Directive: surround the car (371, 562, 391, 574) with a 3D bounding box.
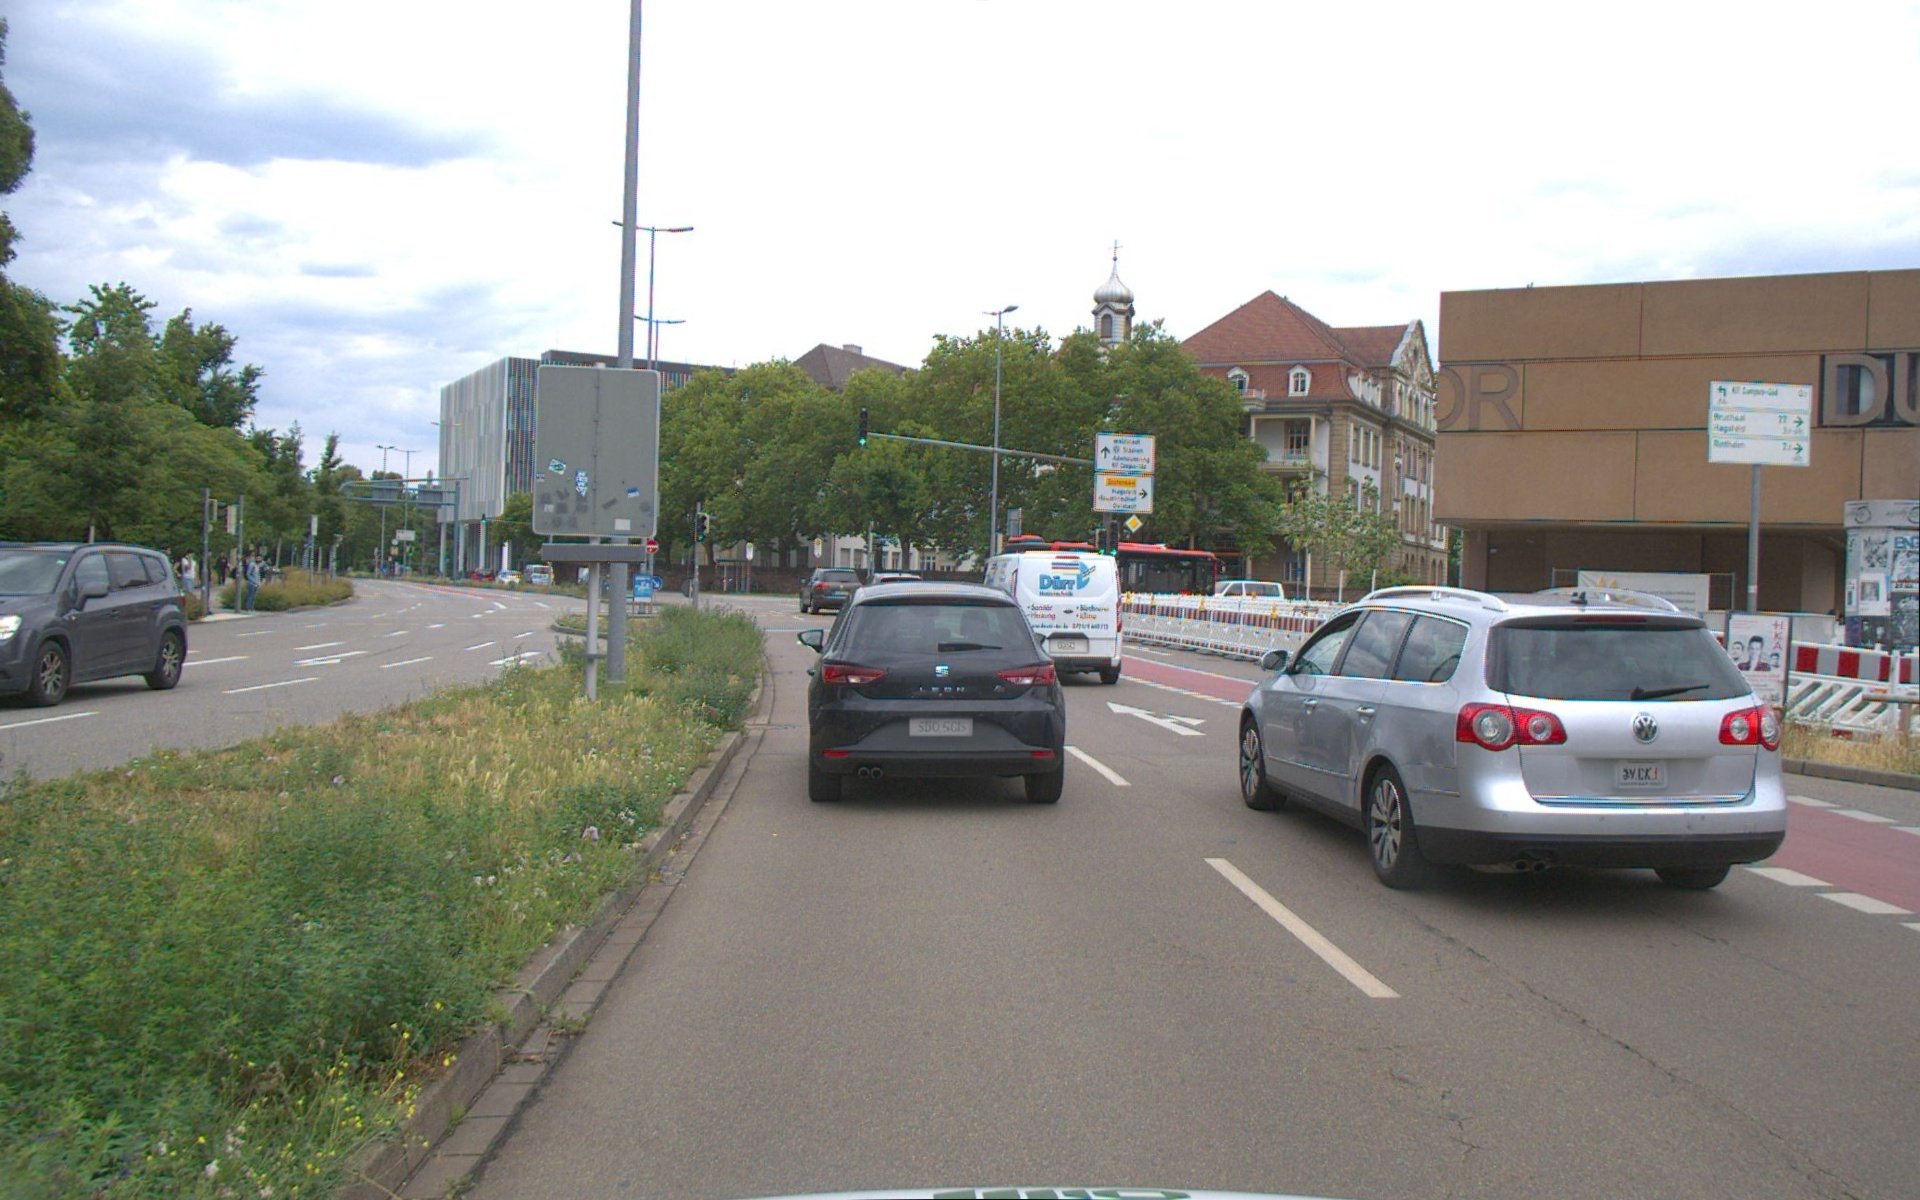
[{"bbox_3d":[-64.309,-3.514,183.652,1.691,1.287,3.311,1,1,-26],"label":"car"}]

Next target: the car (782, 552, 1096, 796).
[{"bbox_3d":[-0.329,0.453,12.209,1.714,1.489,3.991,1,0,-10],"label":"car"}]

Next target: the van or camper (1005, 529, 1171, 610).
[{"bbox_3d":[5.786,-1.288,74.316,7.047,3.390,2.850,1,-1,-28],"label":"van or camper"}]

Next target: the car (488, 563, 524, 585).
[{"bbox_3d":[-37.270,-2.126,135.610,1.972,1.668,3.962,1,1,-29],"label":"car"}]

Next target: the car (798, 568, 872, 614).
[{"bbox_3d":[-4.643,-0.351,61.010,1.960,1.593,4.188,1,1,-15],"label":"car"}]

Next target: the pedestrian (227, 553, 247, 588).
[{"bbox_3d":[-36.396,-1.493,83.238,0.742,1.742,1.043,1,0,-15],"label":"pedestrian"}]

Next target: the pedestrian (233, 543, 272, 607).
[{"bbox_3d":[-21.128,-0.756,49.405,0.876,1.874,0.666,1,0,-6],"label":"pedestrian"}]

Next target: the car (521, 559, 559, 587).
[{"bbox_3d":[-31.831,-2.064,125.304,1.970,2.049,3.965,1,1,-27],"label":"car"}]

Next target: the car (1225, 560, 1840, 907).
[{"bbox_3d":[2.895,0.552,9.566,1.686,1.508,4.625,1,1,-4],"label":"car"}]

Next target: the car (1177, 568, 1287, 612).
[{"bbox_3d":[12.842,-0.432,78.047,4.930,1.897,1.982,1,-3,-28],"label":"car"}]

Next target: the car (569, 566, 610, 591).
[{"bbox_3d":[-27.003,-1.561,120.440,1.896,1.713,3.963,1,1,-29],"label":"car"}]

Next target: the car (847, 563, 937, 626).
[{"bbox_3d":[-1.924,-0.177,45.722,1.825,1.628,4.193,1,1,-12],"label":"car"}]

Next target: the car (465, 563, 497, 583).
[{"bbox_3d":[-43.150,-2.454,149.032,1.972,1.711,3.972,1,1,-29],"label":"car"}]

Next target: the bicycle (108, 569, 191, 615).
[{"bbox_3d":[-21.370,-0.206,43.660,0.773,1.179,1.906,2,1,23],"label":"bicycle"}]

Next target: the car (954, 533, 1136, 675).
[{"bbox_3d":[1.254,0.024,26.895,1.956,2.054,5.022,1,1,-9],"label":"car"}]

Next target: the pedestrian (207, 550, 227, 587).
[{"bbox_3d":[-37.233,-1.586,82.891,0.742,1.796,0.902,1,0,-15],"label":"pedestrian"}]

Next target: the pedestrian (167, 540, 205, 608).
[{"bbox_3d":[-21.494,-0.720,45.954,0.742,1.874,0.765,0,0,-6],"label":"pedestrian"}]

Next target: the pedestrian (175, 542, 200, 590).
[{"bbox_3d":[-33.823,-1.495,72.427,0.742,2.049,1.043,1,0,-15],"label":"pedestrian"}]

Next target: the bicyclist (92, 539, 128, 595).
[{"bbox_3d":[-24.801,-0.951,48.279,0.701,1.597,0.711,2,0,-8],"label":"bicyclist"}]

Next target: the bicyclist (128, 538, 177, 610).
[{"bbox_3d":[-21.349,-0.684,43.719,0.774,1.876,0.833,1,0,23],"label":"bicyclist"}]

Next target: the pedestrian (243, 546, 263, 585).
[{"bbox_3d":[-37.012,-1.801,86.582,0.742,2.049,1.043,1,0,-15],"label":"pedestrian"}]

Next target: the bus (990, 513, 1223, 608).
[{"bbox_3d":[6.180,-1.478,66.726,3.010,3.355,12.319,2,0,38],"label":"bus"}]

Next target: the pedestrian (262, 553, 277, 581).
[{"bbox_3d":[-45.741,-2.213,109.602,0.906,1.810,1.057,1,1,-23],"label":"pedestrian"}]

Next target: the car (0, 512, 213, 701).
[{"bbox_3d":[-9.805,0.026,17.596,1.833,1.755,4.709,0,1,-4],"label":"car"}]
